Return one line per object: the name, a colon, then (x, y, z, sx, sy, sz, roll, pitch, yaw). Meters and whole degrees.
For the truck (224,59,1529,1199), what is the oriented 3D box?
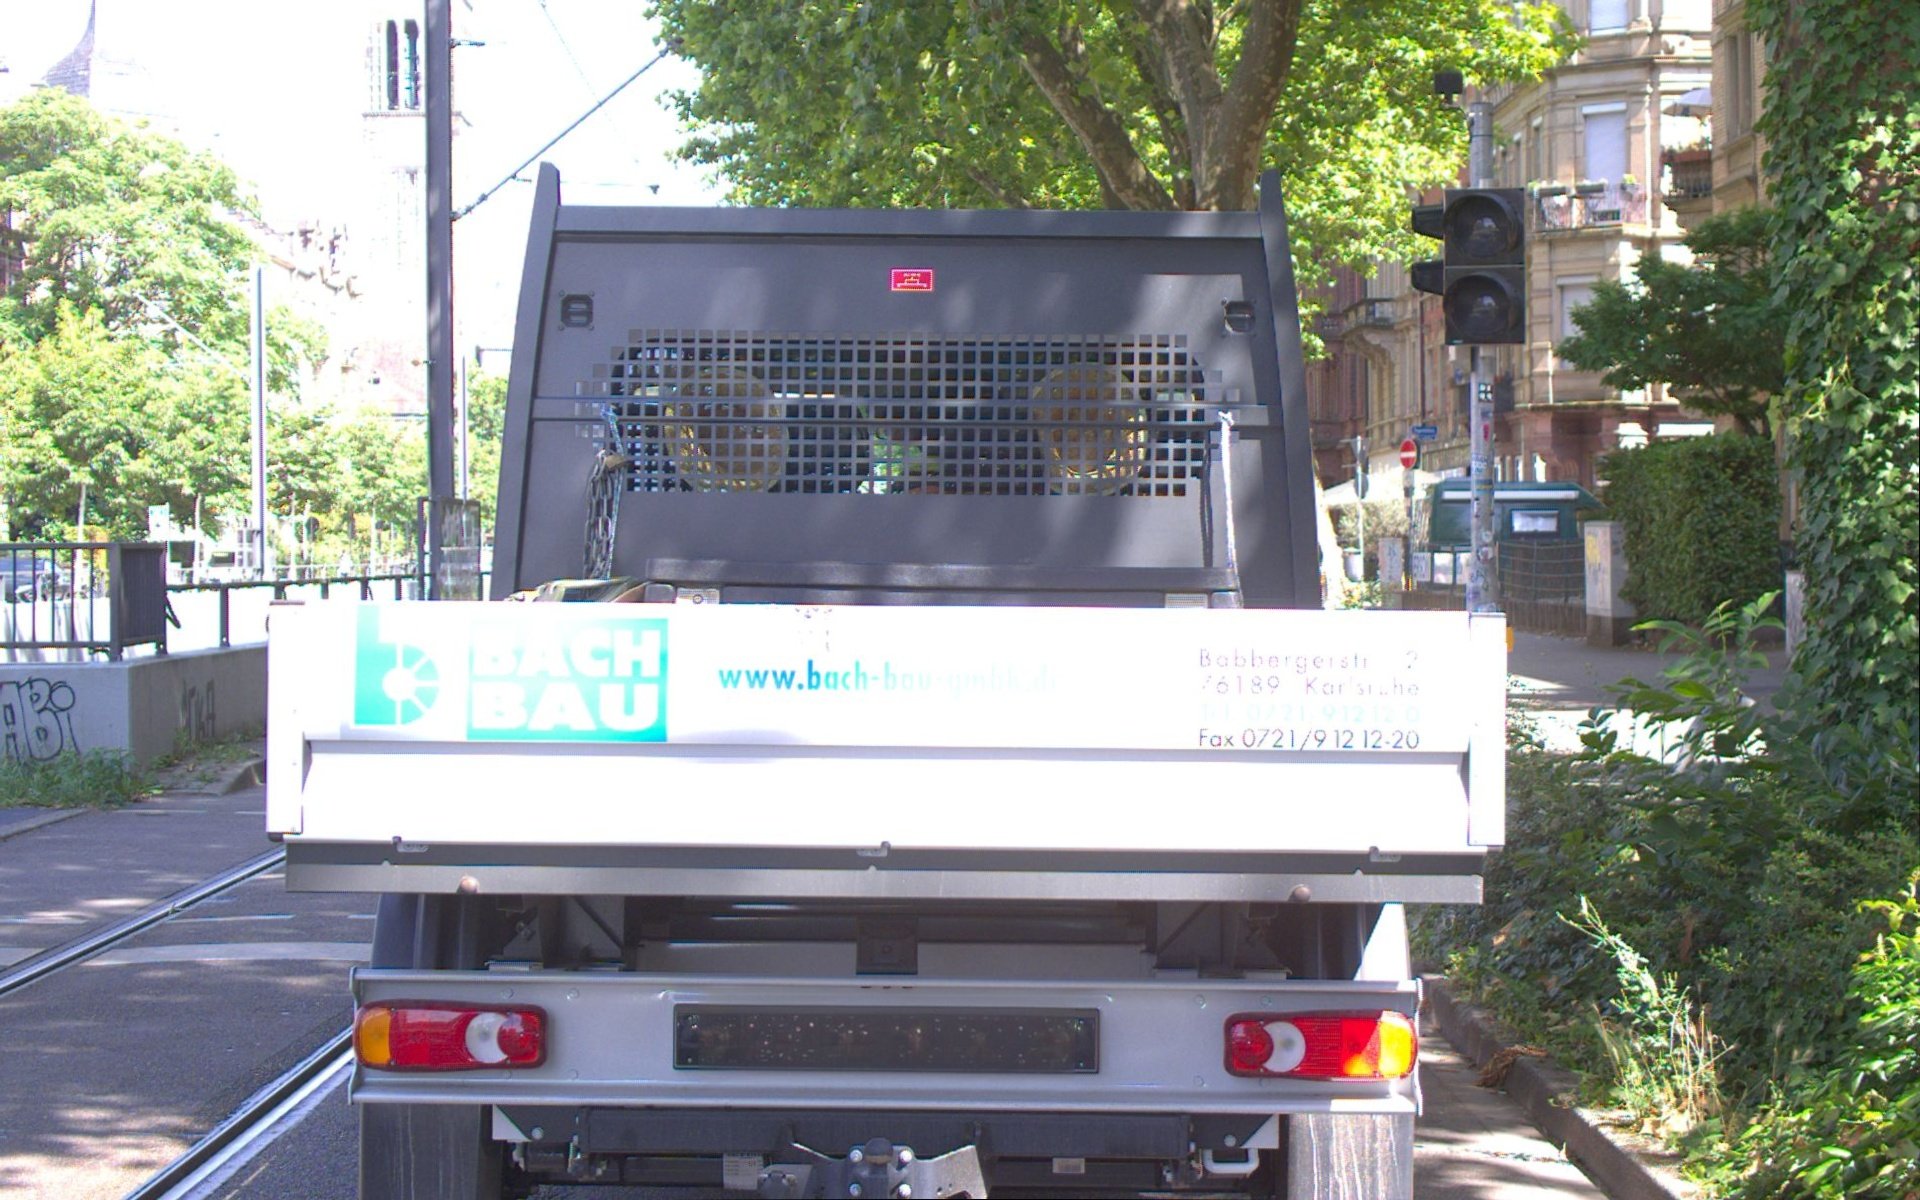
truck: (-0.130, 0.234, 7.859, 2.138, 2.311, 4.402, 0, 1, 0)

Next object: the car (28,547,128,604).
car: (-23.694, -0.670, 92.444, 1.770, 1.493, 4.000, 0, 1, -2)

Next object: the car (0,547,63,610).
car: (-23.432, -0.543, 84.608, 1.770, 1.493, 4.000, 0, 1, -2)
